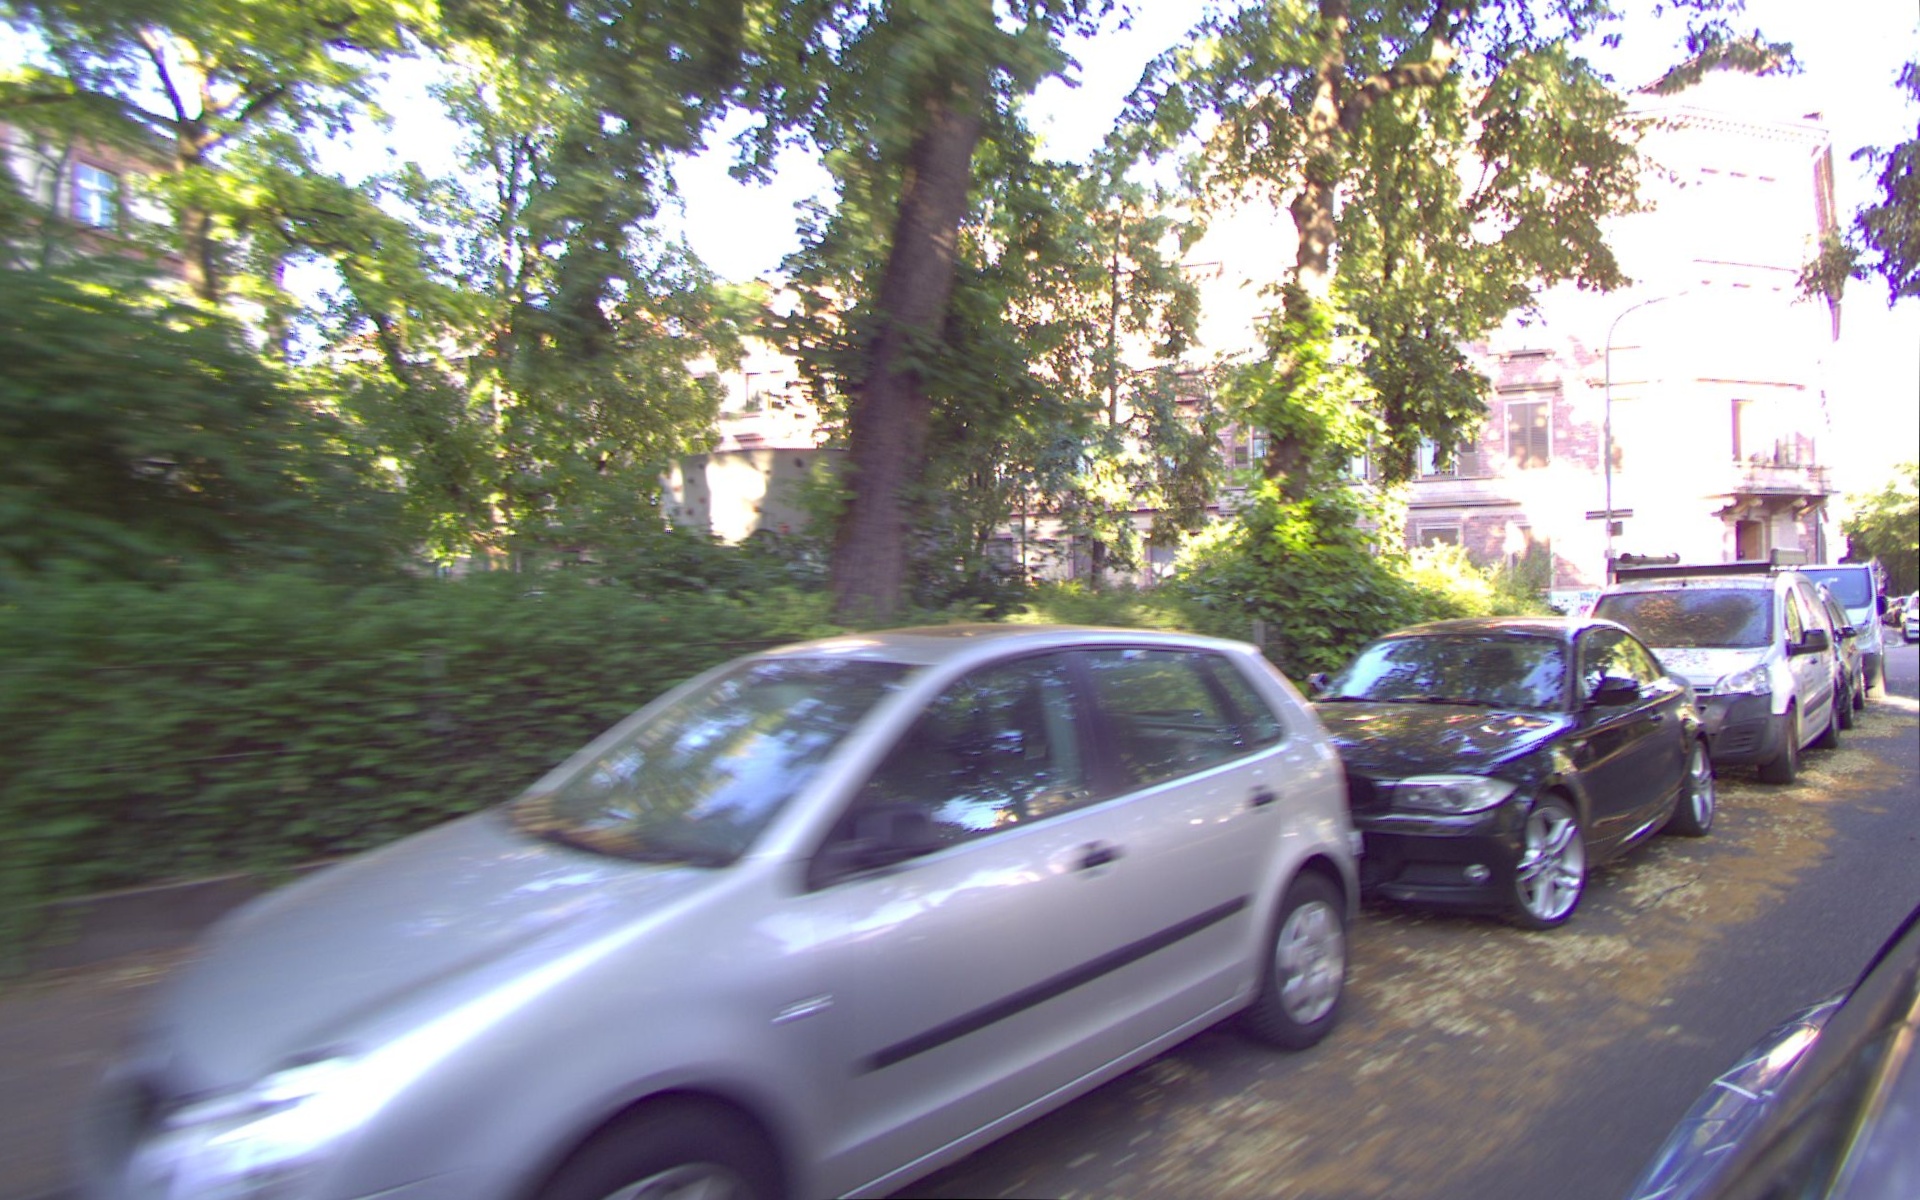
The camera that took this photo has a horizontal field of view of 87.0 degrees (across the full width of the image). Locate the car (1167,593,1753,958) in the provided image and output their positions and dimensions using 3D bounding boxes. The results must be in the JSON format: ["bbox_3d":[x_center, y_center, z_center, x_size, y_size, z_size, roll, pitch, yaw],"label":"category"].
[{"bbox_3d":[3.219,0.703,6.075,4.192,1.408,1.674,-1,0,-42],"label":"car"}]

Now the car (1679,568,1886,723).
[{"bbox_3d":[10.348,0.462,12.632,3.832,1.635,1.567,-1,0,-45],"label":"car"}]

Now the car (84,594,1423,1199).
[{"bbox_3d":[-0.235,0.761,3.207,3.826,1.477,1.674,-1,0,-42],"label":"car"}]

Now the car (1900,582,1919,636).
[{"bbox_3d":[31.817,0.197,32.595,1.933,1.643,4.182,-6,-3,40],"label":"car"}]

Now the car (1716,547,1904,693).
[{"bbox_3d":[13.746,0.241,16.223,1.965,1.960,5.370,-2,0,43],"label":"car"}]

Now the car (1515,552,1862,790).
[{"bbox_3d":[6.973,0.497,9.503,4.303,1.729,1.789,-1,0,-43],"label":"car"}]
